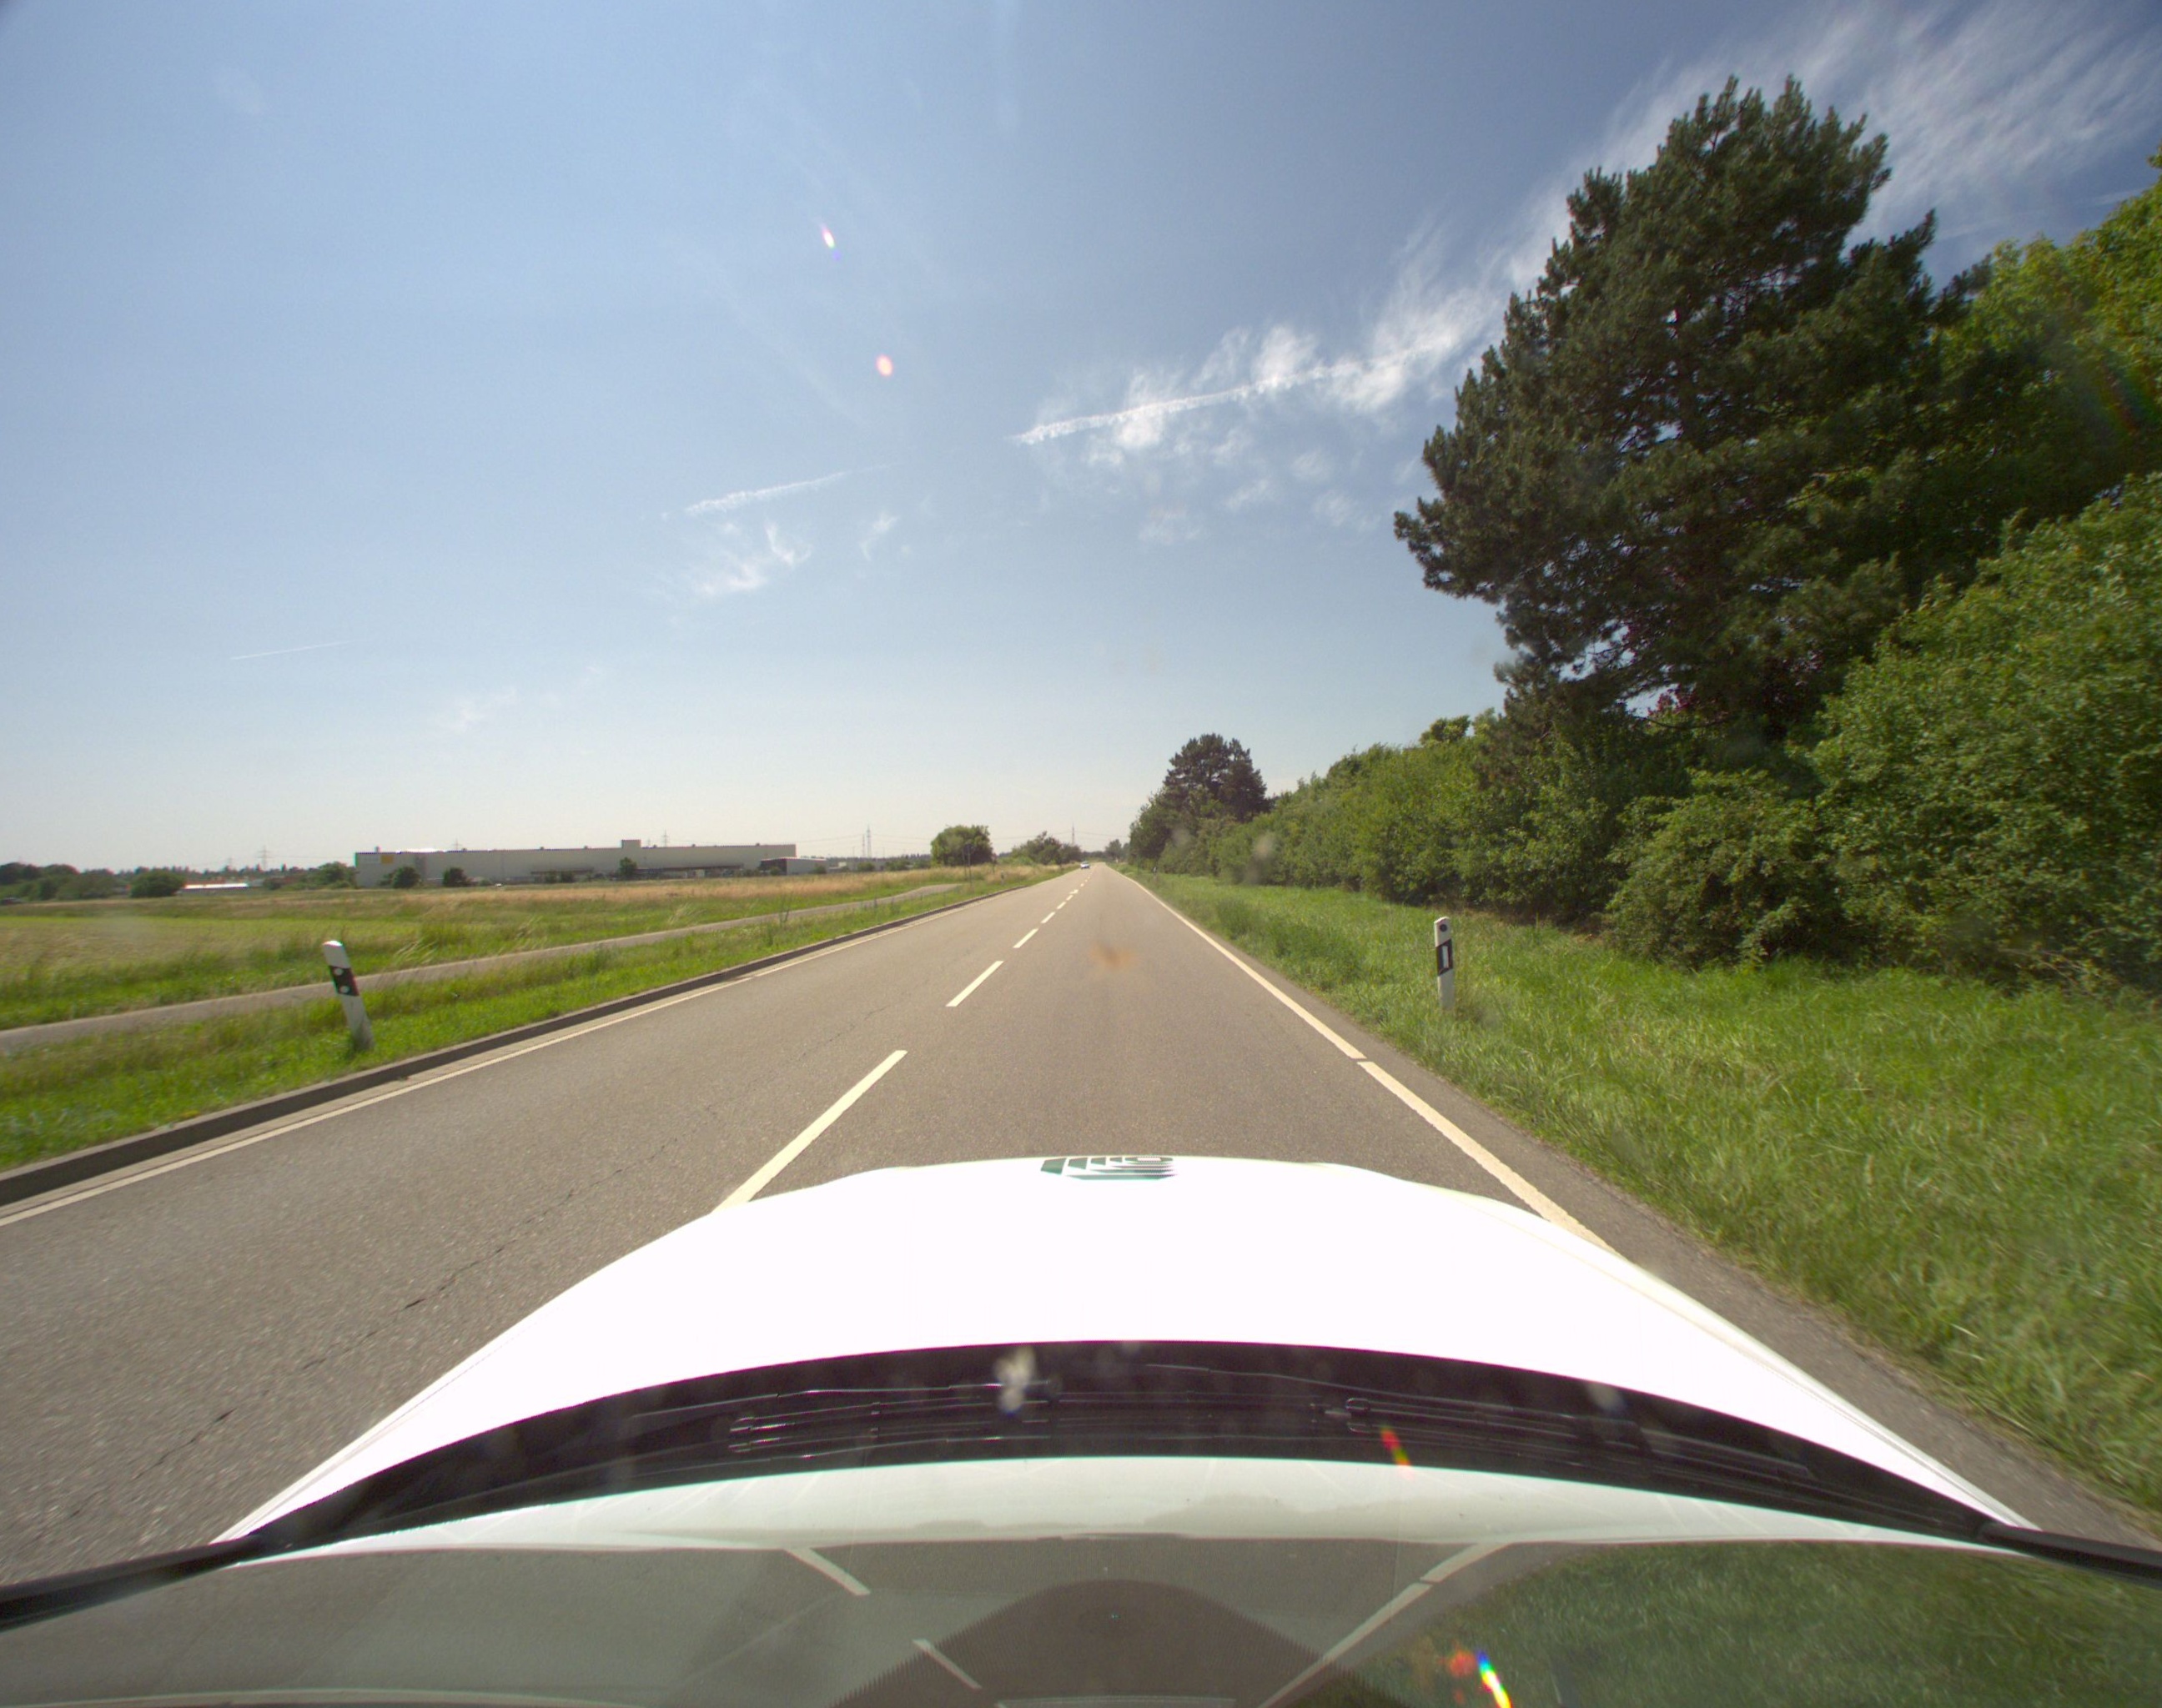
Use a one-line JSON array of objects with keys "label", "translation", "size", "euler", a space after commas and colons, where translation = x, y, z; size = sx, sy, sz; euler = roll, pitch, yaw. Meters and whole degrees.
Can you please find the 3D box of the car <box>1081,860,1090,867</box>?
[{"label": "car", "translation": [0.854, 1.954, 165.660], "size": [1.672, 1.421, 4.422], "euler": [-4, 0, 1]}]
